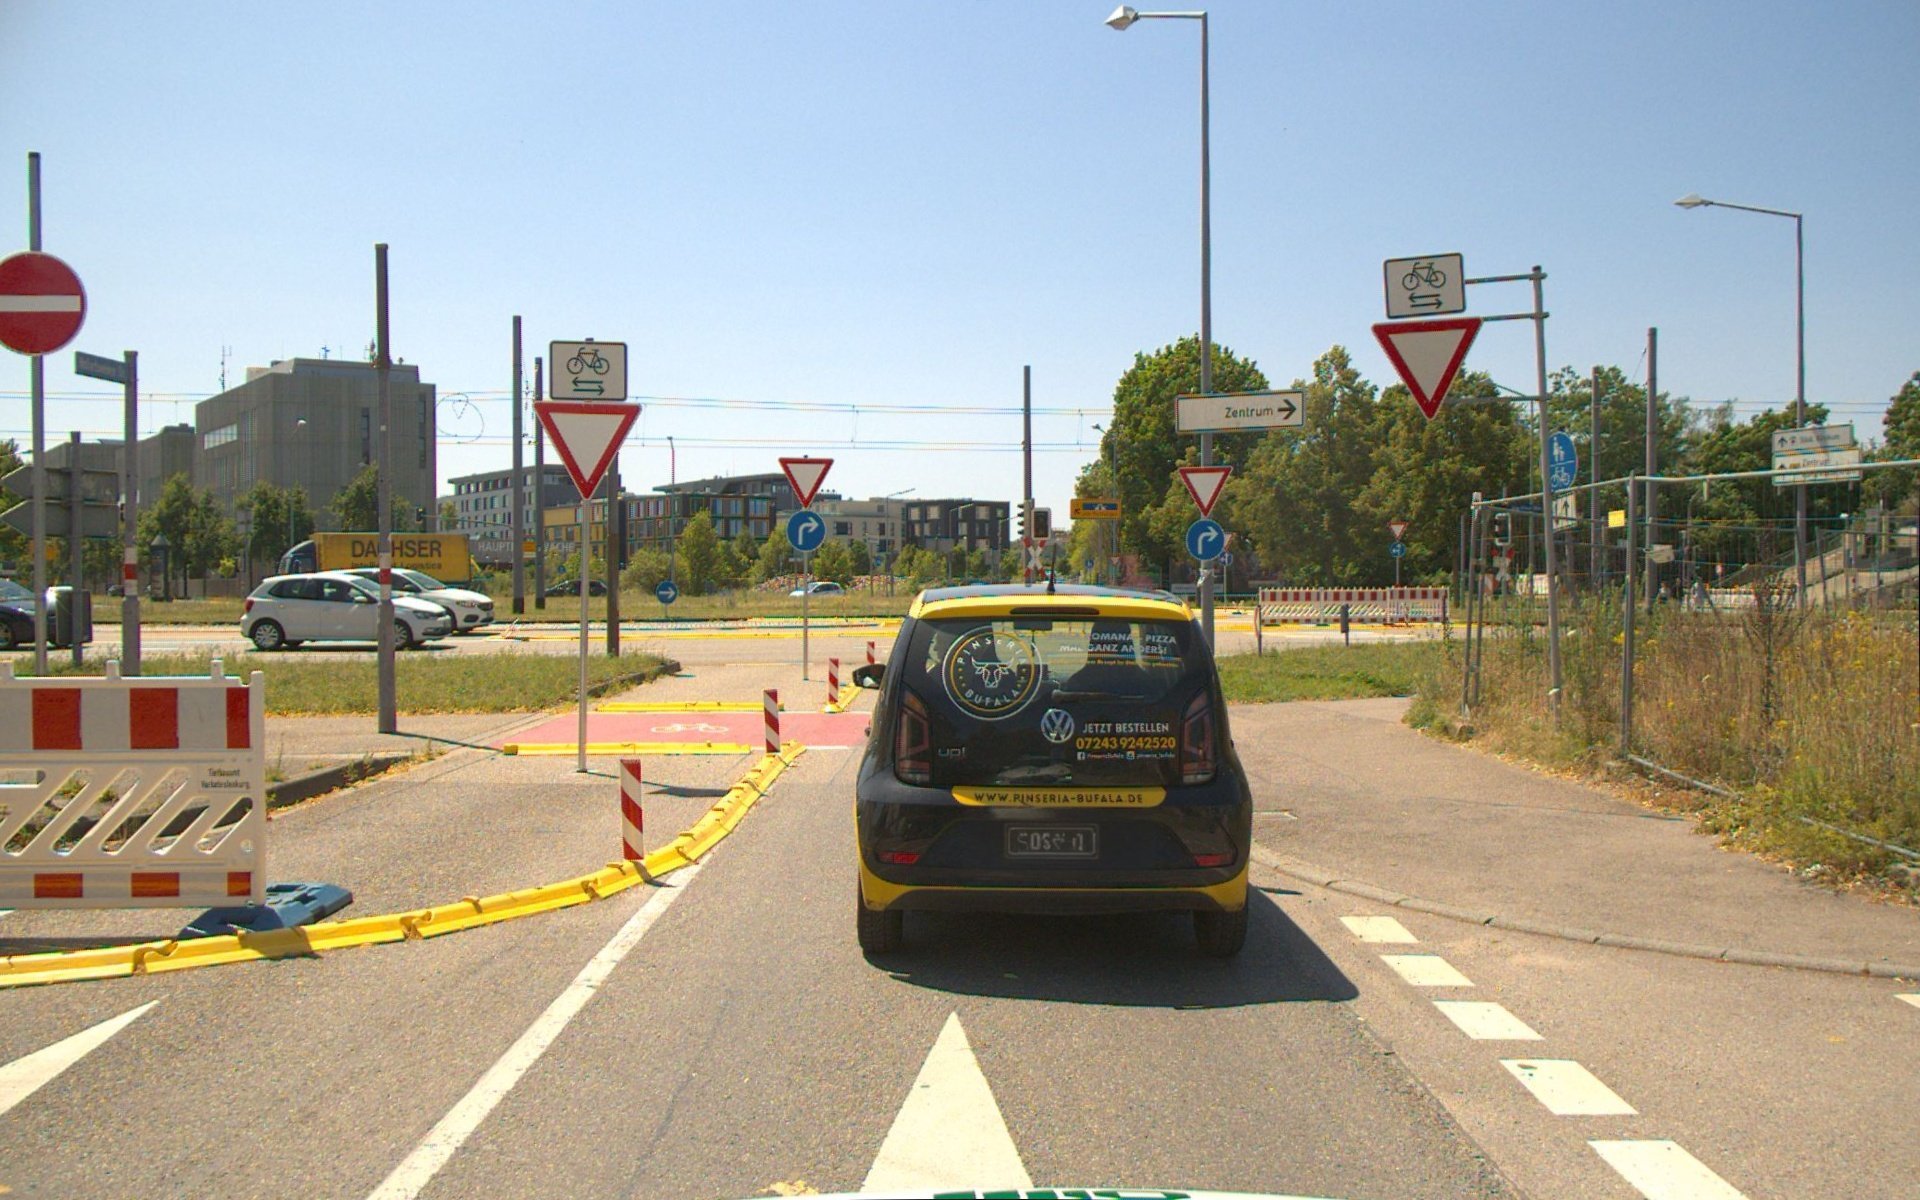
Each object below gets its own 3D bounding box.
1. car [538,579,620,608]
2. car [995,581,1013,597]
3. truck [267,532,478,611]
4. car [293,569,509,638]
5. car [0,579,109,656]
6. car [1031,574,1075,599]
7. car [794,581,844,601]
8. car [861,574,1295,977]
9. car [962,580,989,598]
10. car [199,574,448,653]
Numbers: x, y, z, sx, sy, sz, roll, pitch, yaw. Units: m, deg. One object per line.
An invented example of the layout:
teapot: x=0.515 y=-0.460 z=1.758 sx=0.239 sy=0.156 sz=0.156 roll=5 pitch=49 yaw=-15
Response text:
car: x=-19.800 y=-0.361 z=86.032 sx=3.957 sy=1.486 sz=1.728 roll=0 pitch=0 yaw=-6
car: x=4.062 y=-1.044 z=153.777 sx=1.489 sy=1.418 sz=3.282 roll=0 pitch=1 yaw=-1
truck: x=-29.006 y=-1.412 z=81.959 sx=9.500 sy=3.722 sz=2.675 roll=-1 pitch=1 yaw=-34
car: x=-12.861 y=0.066 z=38.242 sx=4.260 sy=1.512 sz=2.001 roll=0 pitch=1 yaw=4
car: x=-20.038 y=0.317 z=33.518 sx=4.642 sy=1.474 sz=2.002 roll=1 pitch=1 yaw=7
car: x=5.288 y=-0.772 z=94.354 sx=1.631 sy=1.396 sz=3.018 roll=0 pitch=1 yaw=-16
car: x=-8.432 y=-0.522 z=98.967 sx=2.865 sy=1.175 sz=1.189 roll=-1 pitch=1 yaw=-38
car: x=0.408 y=0.628 z=8.095 sx=1.585 sy=1.477 sz=3.986 roll=1 pitch=1 yaw=-1
car: x=1.239 y=-0.889 z=133.547 sx=1.730 sy=1.368 sz=3.325 roll=0 pitch=1 yaw=9
car: x=-12.676 y=0.250 z=33.129 sx=4.249 sy=1.474 sz=1.856 roll=1 pitch=0 yaw=-1
